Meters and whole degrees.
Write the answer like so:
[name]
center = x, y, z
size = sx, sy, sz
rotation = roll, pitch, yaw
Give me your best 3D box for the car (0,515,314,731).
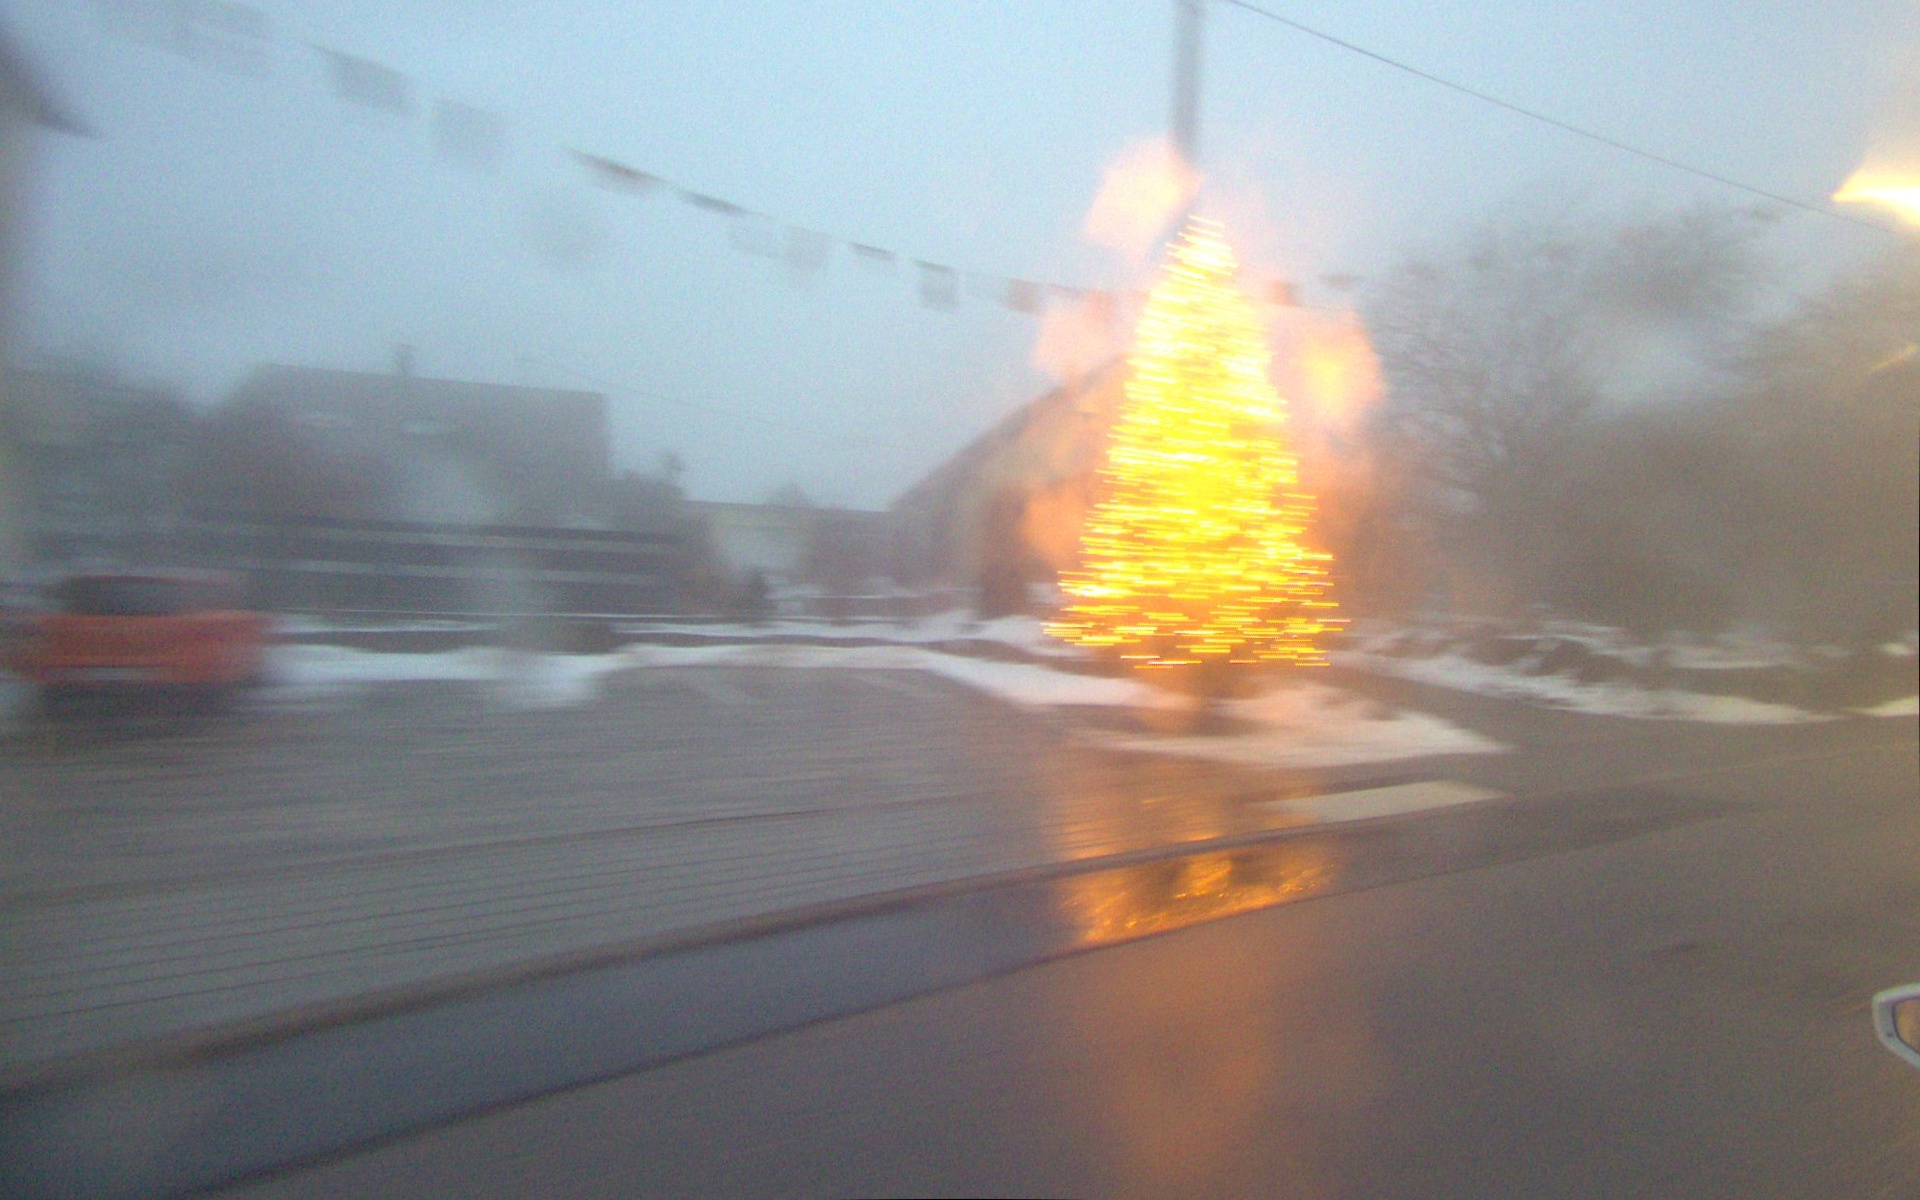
[car]
center = -8.210, 0.149, 10.488
size = 1.888, 1.815, 3.804
rotation = 3, 1, -25
